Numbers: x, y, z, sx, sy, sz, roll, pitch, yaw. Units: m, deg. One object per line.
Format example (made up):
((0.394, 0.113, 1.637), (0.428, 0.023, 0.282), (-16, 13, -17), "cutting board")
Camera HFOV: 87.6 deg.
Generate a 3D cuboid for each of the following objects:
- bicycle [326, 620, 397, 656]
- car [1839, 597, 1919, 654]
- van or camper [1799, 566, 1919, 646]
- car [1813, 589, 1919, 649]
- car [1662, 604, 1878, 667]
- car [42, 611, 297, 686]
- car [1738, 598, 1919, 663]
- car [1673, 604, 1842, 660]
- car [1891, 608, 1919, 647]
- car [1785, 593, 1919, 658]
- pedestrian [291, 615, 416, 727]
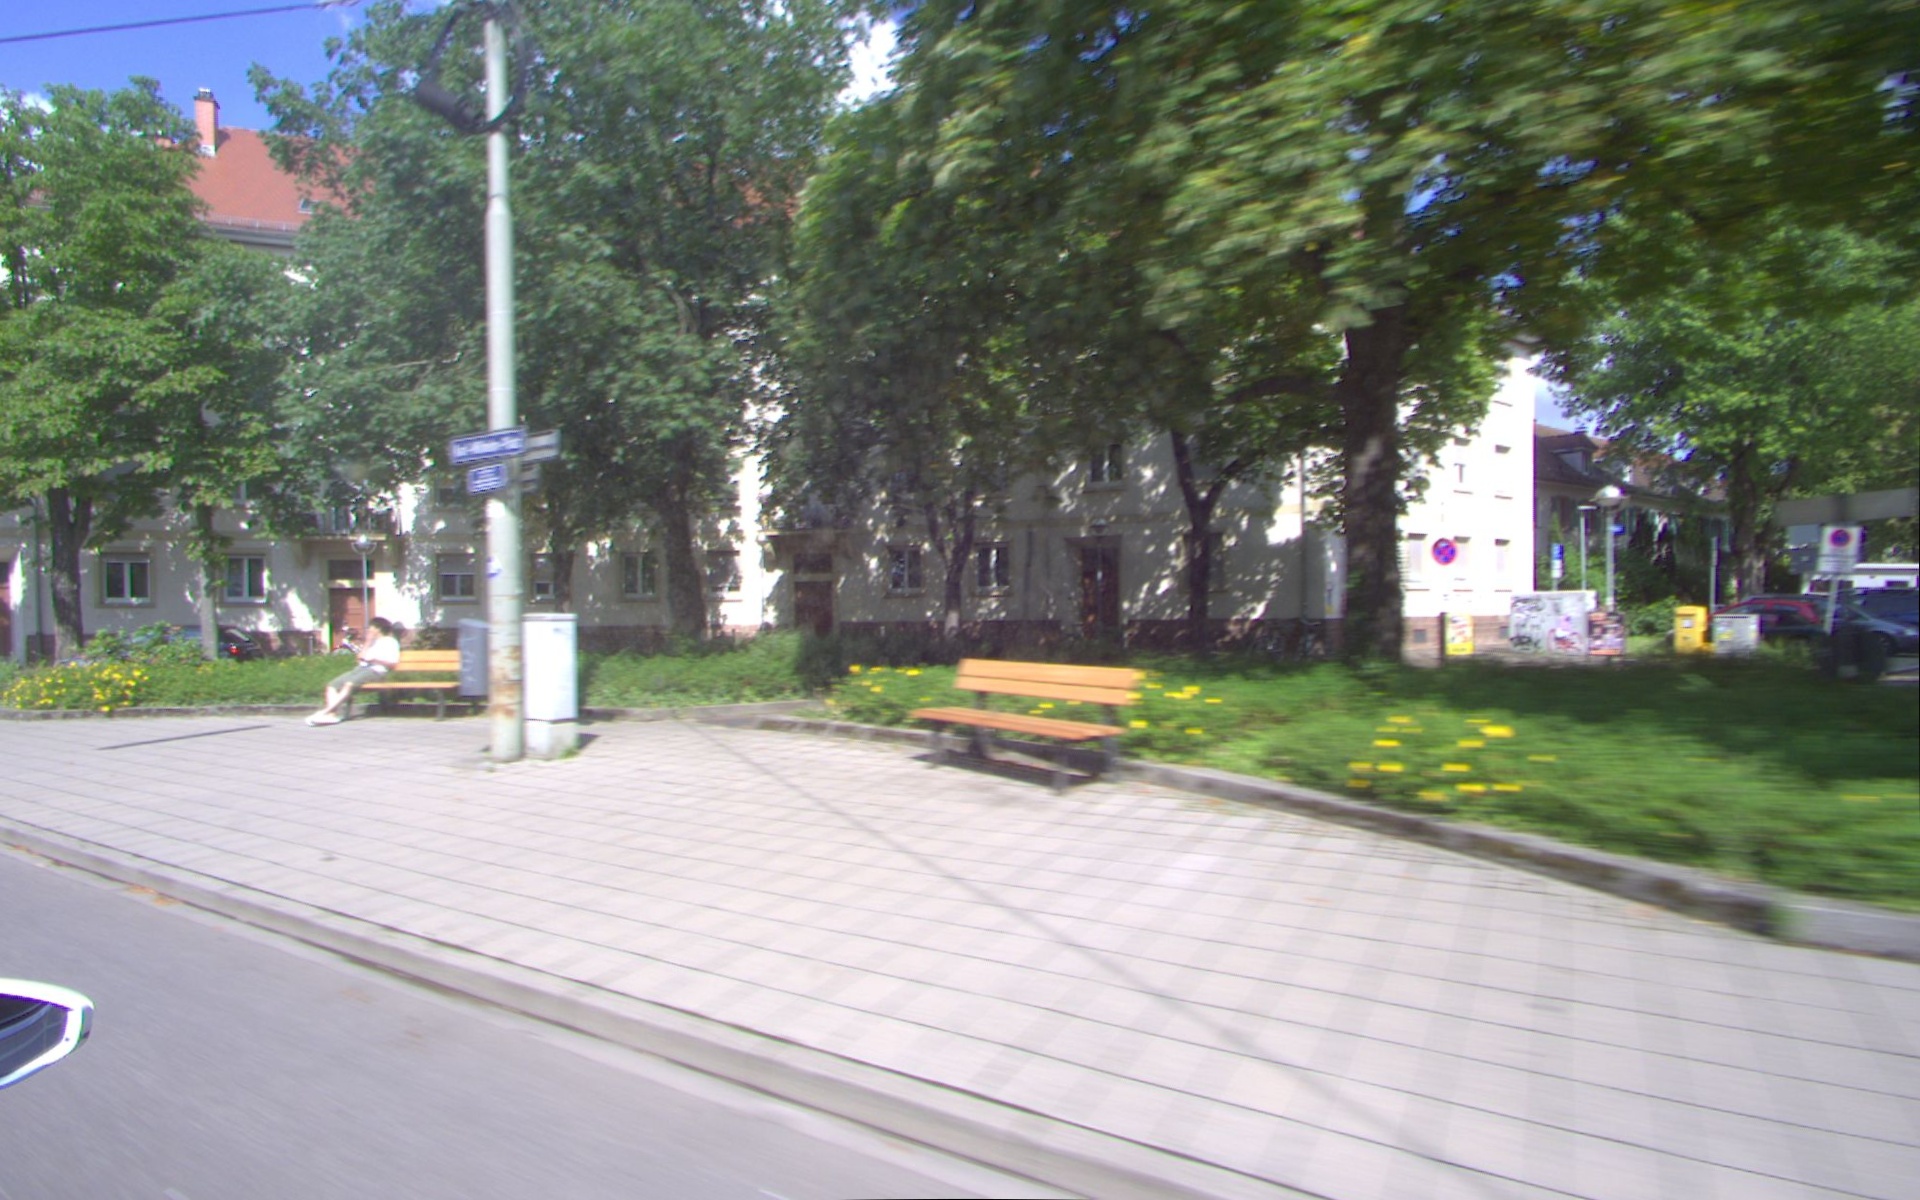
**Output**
((-17.882, 1.126, 29.949), (1.719, 1.034, 0.566), (0, 2, -5), "bicycle")
((32.803, 0.851, 34.087), (1.973, 1.906, 3.975), (0, -1, -33), "car")
((37.723, 0.237, 39.544), (2.096, 3.078, 6.783), (0, -1, -37), "van or camper")
((30.355, 0.617, 32.374), (1.826, 1.884, 3.970), (0, -1, -38), "car")
((20.239, 0.848, 25.150), (1.782, 1.461, 3.968), (0, -1, -39), "car")
((-17.703, 1.040, 22.669), (4.097, 1.530, 1.848), (0, 1, -16), "car")
((24.586, 0.830, 28.050), (1.830, 1.706, 4.094), (0, -1, -38), "car")
((21.680, 0.842, 27.311), (1.545, 1.441, 3.387), (0, -1, -39), "car")
((36.690, 1.000, 36.617), (1.514, 1.416, 3.640), (0, -1, -35), "car")
((26.988, 0.730, 29.394), (1.954, 1.817, 3.971), (0, -1, -37), "car")
((-7.602, 0.865, 12.587), (0.549, 1.286, 1.191), (-1, 2, 27), "pedestrian")
